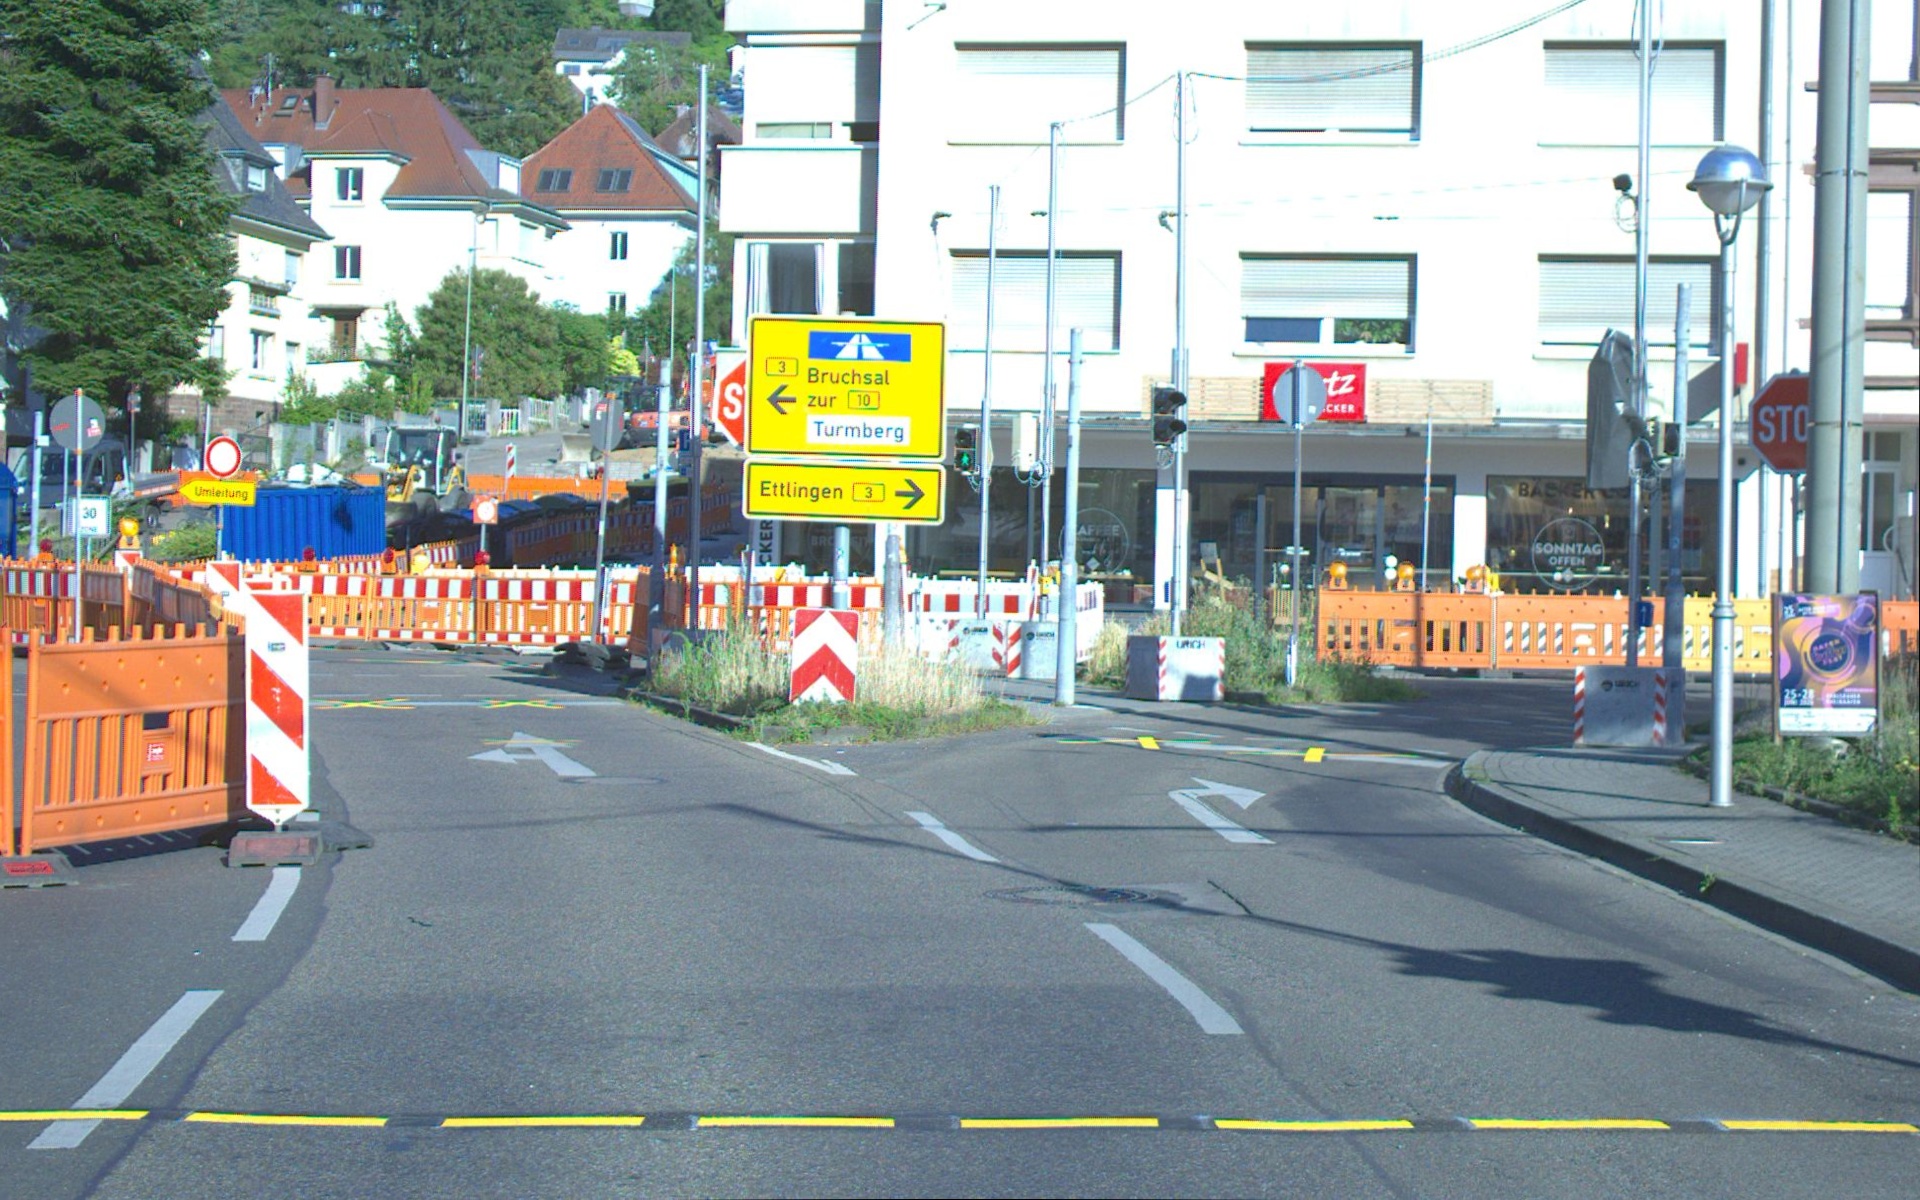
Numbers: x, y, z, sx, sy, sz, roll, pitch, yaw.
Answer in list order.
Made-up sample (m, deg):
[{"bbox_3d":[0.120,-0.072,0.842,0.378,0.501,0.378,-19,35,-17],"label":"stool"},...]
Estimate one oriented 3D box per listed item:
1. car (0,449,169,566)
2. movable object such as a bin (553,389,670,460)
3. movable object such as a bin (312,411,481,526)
[{"bbox_3d":[-17.966,-1.748,66.122,2.585,2.113,6.145,1,1,18],"label":"car"},{"bbox_3d":[-11.592,-5.828,114.842,2.566,2.114,5.782,1,1,8],"label":"movable object such as a bin"},{"bbox_3d":[-12.890,-2.982,78.948,1.950,2.486,4.547,1,1,18],"label":"movable object such as a bin"}]
